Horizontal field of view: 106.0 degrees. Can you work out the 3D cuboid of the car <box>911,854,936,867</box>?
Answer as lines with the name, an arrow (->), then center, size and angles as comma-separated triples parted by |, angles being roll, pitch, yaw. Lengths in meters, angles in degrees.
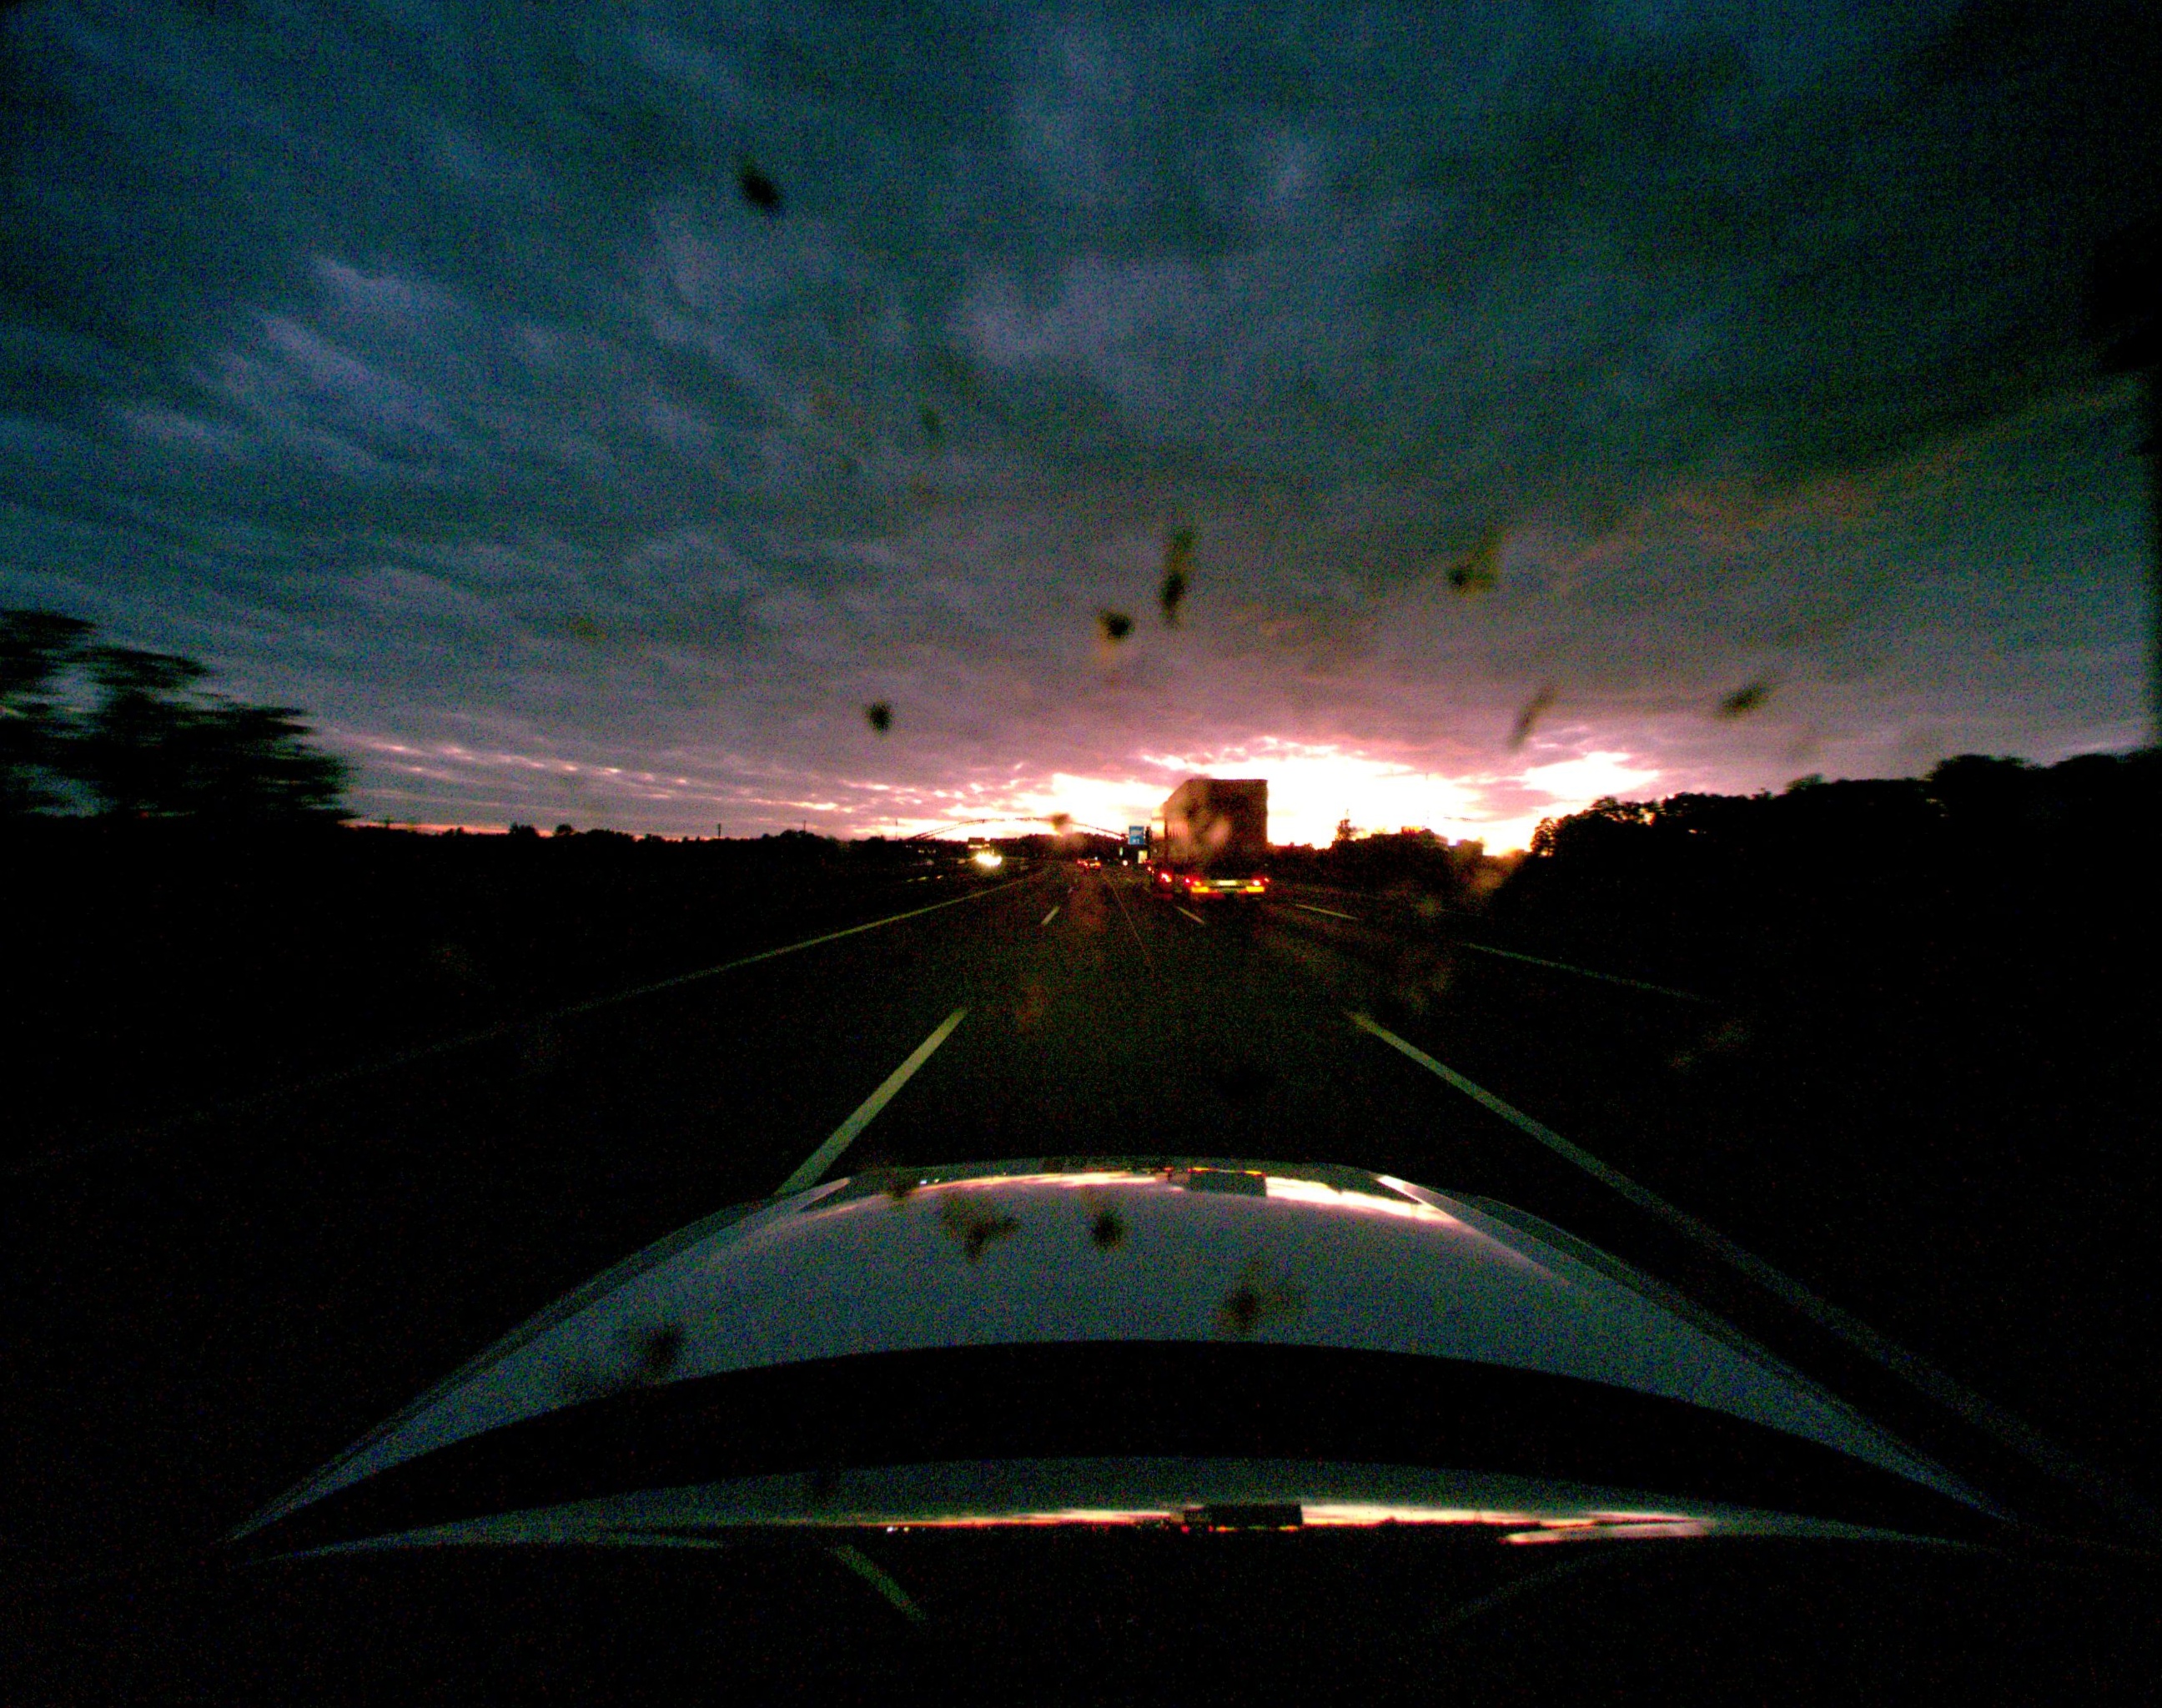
car -> -16.022, 0.659, 83.039 | 1.715, 1.227, 4.184 | 0, 0, 1

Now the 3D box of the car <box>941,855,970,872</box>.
car -> -11.256, 0.832, 73.518 | 1.987, 1.404, 4.328 | 0, 0, -1

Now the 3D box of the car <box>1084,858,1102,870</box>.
car -> 1.312, 1.163, 93.153 | 1.687, 1.401, 3.401 | 0, -1, -6

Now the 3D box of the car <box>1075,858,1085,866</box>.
car -> -0.137, 1.522, 148.388 | 1.682, 1.401, 3.410 | 0, -2, 3

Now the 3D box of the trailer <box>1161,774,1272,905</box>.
trailer -> 4.656, -0.450, 29.756 | 2.712, 4.071, 8.832 | 0, 0, 1

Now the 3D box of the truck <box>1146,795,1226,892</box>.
truck -> 4.815, -0.471, 39.447 | 2.681, 4.071, 10.521 | 0, 0, 1

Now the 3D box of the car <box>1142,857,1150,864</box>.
car -> 17.448, 1.703, 217.327 | 1.983, 1.717, 4.006 | 1, -2, 6
